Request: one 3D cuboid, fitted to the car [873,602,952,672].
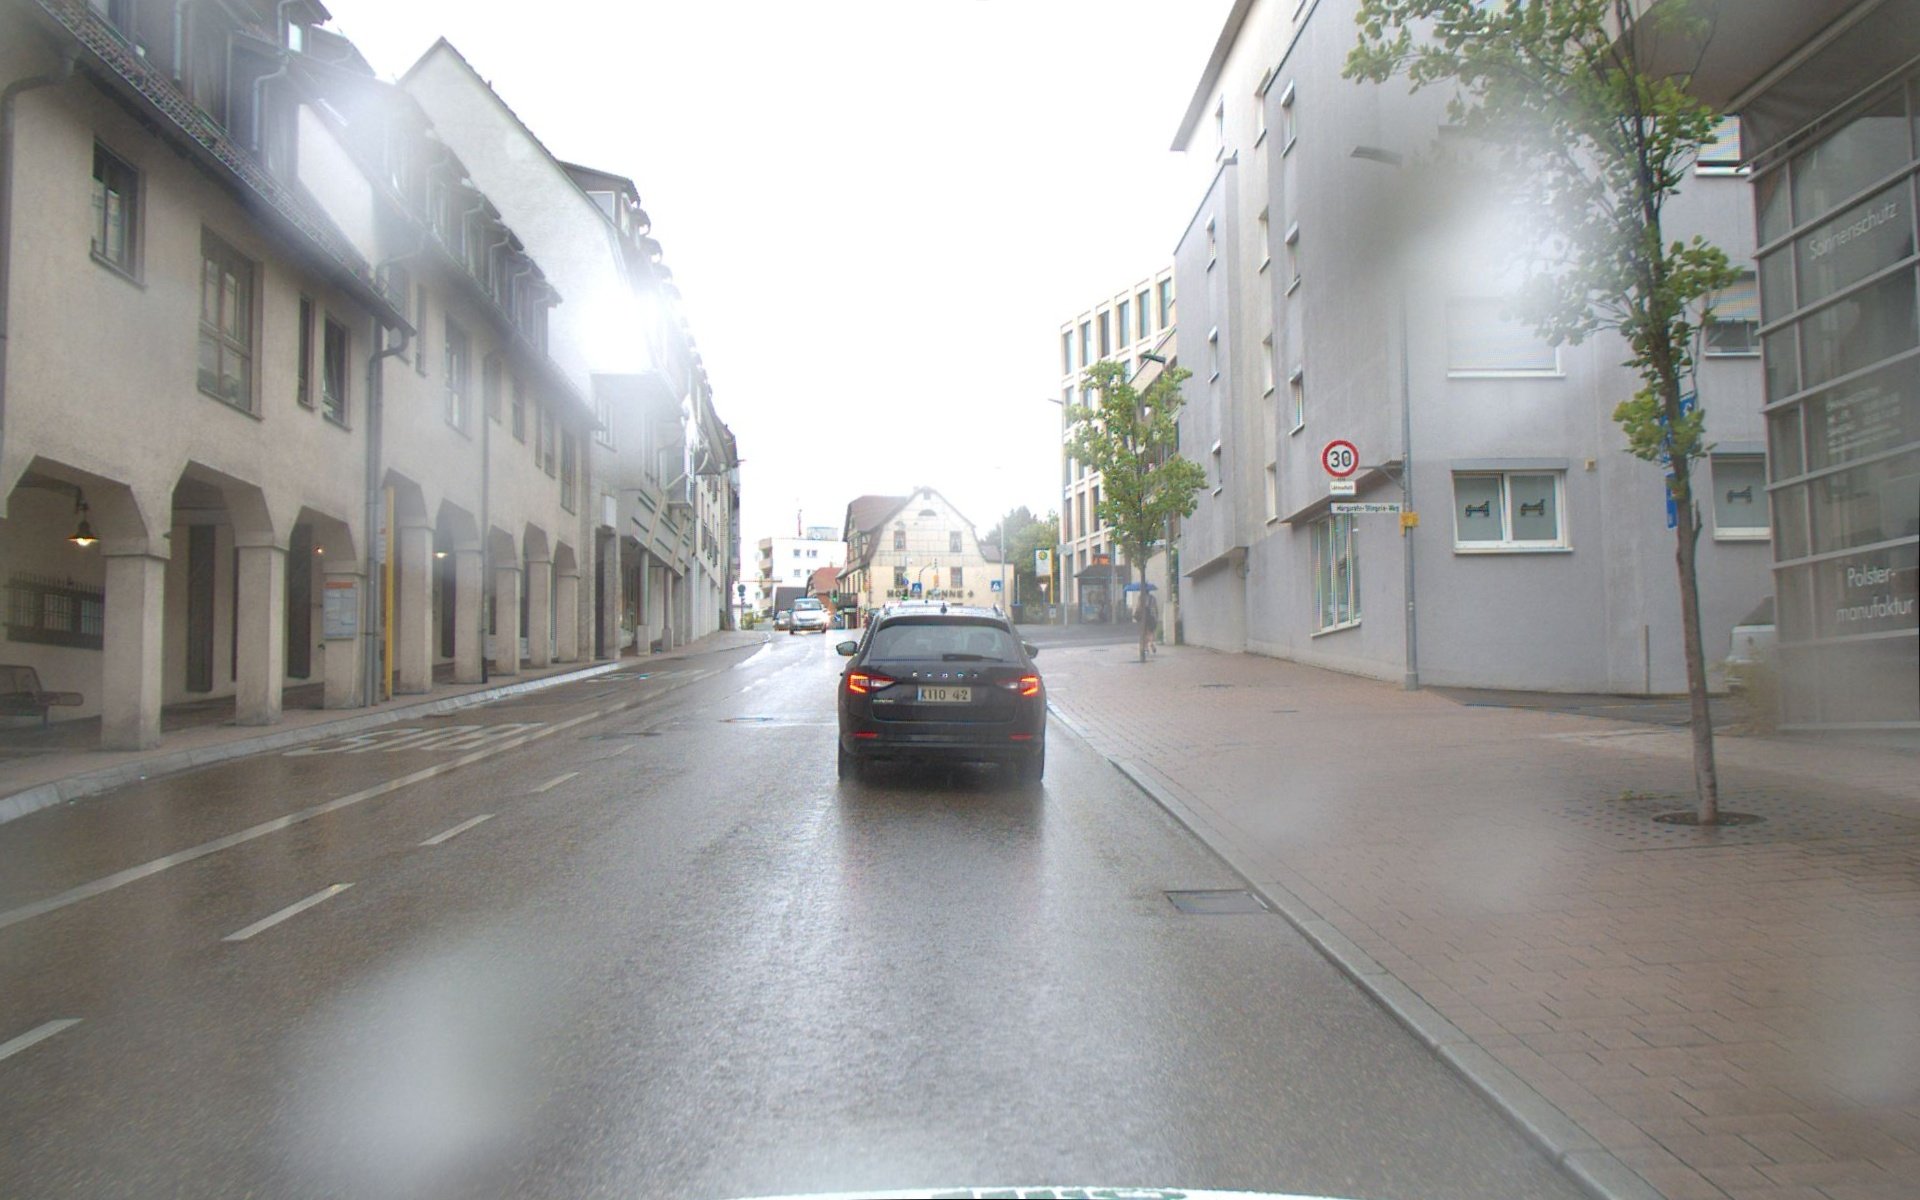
[{"bbox_3d":[-1.150,0.835,38.744,1.644,1.536,3.585,-1,0,-4],"label":"car"}]

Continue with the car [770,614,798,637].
[{"bbox_3d":[-11.820,1.697,110.956,1.646,1.434,3.580,-1,0,-9],"label":"car"}]

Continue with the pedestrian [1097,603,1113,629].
[{"bbox_3d":[6.870,0.758,78.338,0.658,1.182,0.635,-2,-1,-2],"label":"pedestrian"}]

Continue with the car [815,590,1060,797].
[{"bbox_3d":[-0.255,0.737,15.188,1.905,1.594,4.415,-1,0,-2],"label":"car"}]

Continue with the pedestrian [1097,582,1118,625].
[{"bbox_3d":[6.885,0.155,77.096,0.766,1.974,1.021,-2,-1,-2],"label":"pedestrian"}]

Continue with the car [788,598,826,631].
[{"bbox_3d":[-7.251,0.687,78.716,1.643,1.536,3.586,-1,0,-3],"label":"car"}]

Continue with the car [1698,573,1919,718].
[{"bbox_3d":[10.849,0.458,19.229,3.688,1.479,1.743,-4,-1,-3],"label":"car"}]

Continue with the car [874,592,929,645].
[{"bbox_3d":[-1.899,0.587,53.475,1.647,1.587,3.998,-2,0,-2],"label":"car"}]

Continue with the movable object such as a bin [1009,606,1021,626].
[{"bbox_3d":[2.980,0.868,89.275,0.583,1.081,0.578,-1,-1,-3],"label":"movable object such as a bin"}]

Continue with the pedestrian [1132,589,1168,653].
[{"bbox_3d":[4.855,0.542,42.255,0.721,1.569,1.038,-4,-1,1],"label":"pedestrian"}]
